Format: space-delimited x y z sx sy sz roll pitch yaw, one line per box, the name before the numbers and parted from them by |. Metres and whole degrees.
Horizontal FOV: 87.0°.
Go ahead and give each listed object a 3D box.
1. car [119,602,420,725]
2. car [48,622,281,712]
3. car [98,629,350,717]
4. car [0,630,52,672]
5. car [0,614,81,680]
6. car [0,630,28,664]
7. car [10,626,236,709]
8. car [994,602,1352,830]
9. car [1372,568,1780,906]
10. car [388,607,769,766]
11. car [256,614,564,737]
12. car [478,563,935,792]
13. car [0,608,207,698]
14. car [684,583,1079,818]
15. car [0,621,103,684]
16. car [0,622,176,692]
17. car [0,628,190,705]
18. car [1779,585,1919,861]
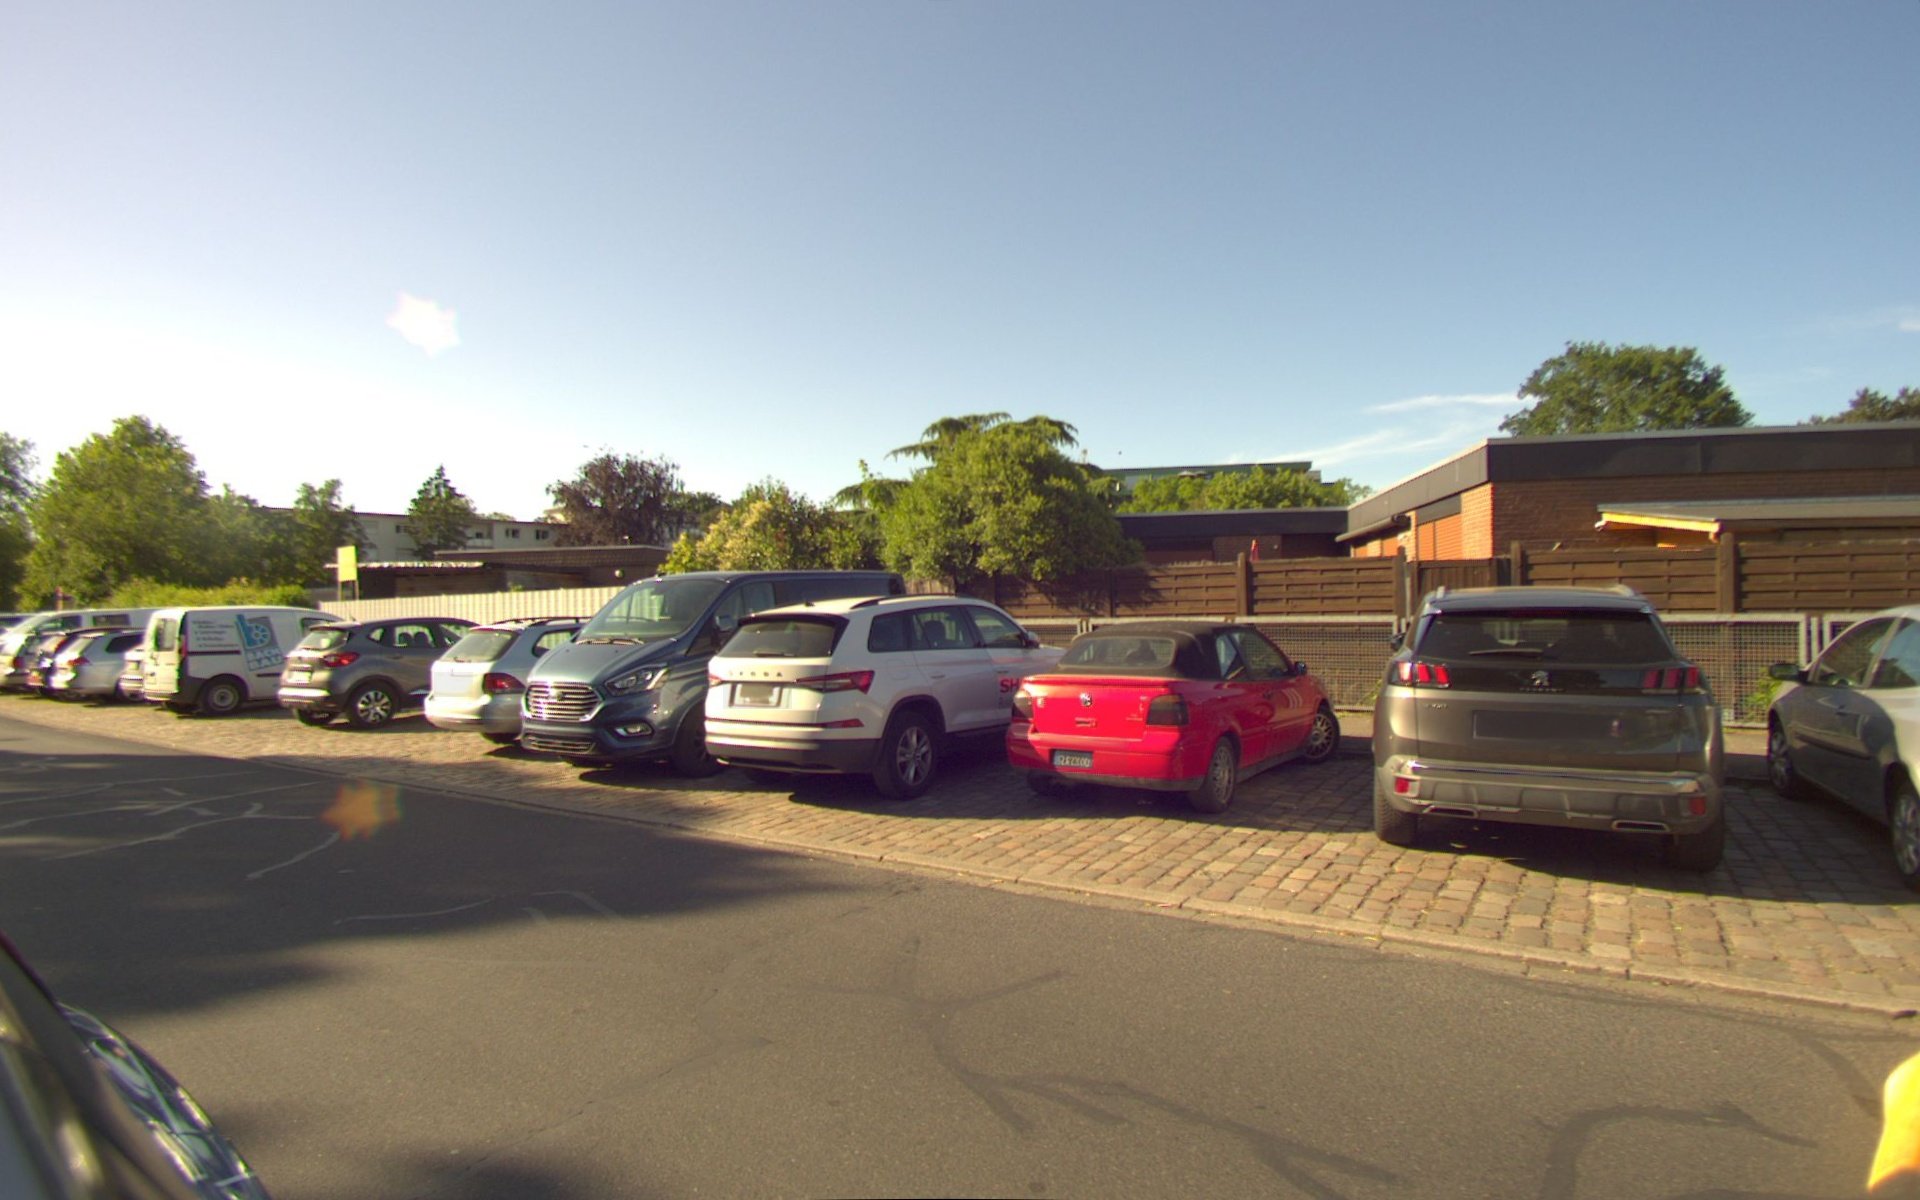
car | -12.099 1.023 17.966 1.920 1.794 3.944 -2 0 34
car | -16.292 1.311 20.843 1.635 1.500 3.479 -2 1 40
car | -13.850 1.312 19.210 1.723 1.500 3.484 -1 -2 34
car | -37.743 2.038 38.559 1.747 1.490 4.496 -3 0 42
car | -31.370 1.560 32.536 1.999 1.991 4.433 -1 1 40
car | -45.983 2.269 46.851 1.830 1.544 3.947 -1 1 40
car | -18.235 1.426 22.165 1.633 1.500 3.483 -3 0 35
car | 1.989 0.778 8.602 1.729 1.354 3.582 -1 1 34
car | 4.078 0.631 7.113 1.810 1.624 3.963 -1 1 27
car | -4.595 0.926 12.739 1.921 1.503 4.101 -1 1 36
car | -8.285 1.040 15.560 1.783 1.544 3.785 -1 0 32
car | -2.458 0.651 11.147 1.994 1.930 4.833 -1 0 33
car | -22.292 1.292 25.595 2.077 1.935 4.747 -2 1 35
car | -0.522 0.719 9.281 1.729 1.619 3.582 -1 1 34
car | -28.904 1.619 30.895 4.102 1.718 1.886 -3 1 -42
car | -24.594 1.532 28.273 1.883 1.594 3.946 -1 1 41
car | -20.452 1.492 23.706 1.632 1.457 3.486 -1 1 33
car | 6.298 0.649 5.890 1.626 1.470 3.664 -1 0 27
